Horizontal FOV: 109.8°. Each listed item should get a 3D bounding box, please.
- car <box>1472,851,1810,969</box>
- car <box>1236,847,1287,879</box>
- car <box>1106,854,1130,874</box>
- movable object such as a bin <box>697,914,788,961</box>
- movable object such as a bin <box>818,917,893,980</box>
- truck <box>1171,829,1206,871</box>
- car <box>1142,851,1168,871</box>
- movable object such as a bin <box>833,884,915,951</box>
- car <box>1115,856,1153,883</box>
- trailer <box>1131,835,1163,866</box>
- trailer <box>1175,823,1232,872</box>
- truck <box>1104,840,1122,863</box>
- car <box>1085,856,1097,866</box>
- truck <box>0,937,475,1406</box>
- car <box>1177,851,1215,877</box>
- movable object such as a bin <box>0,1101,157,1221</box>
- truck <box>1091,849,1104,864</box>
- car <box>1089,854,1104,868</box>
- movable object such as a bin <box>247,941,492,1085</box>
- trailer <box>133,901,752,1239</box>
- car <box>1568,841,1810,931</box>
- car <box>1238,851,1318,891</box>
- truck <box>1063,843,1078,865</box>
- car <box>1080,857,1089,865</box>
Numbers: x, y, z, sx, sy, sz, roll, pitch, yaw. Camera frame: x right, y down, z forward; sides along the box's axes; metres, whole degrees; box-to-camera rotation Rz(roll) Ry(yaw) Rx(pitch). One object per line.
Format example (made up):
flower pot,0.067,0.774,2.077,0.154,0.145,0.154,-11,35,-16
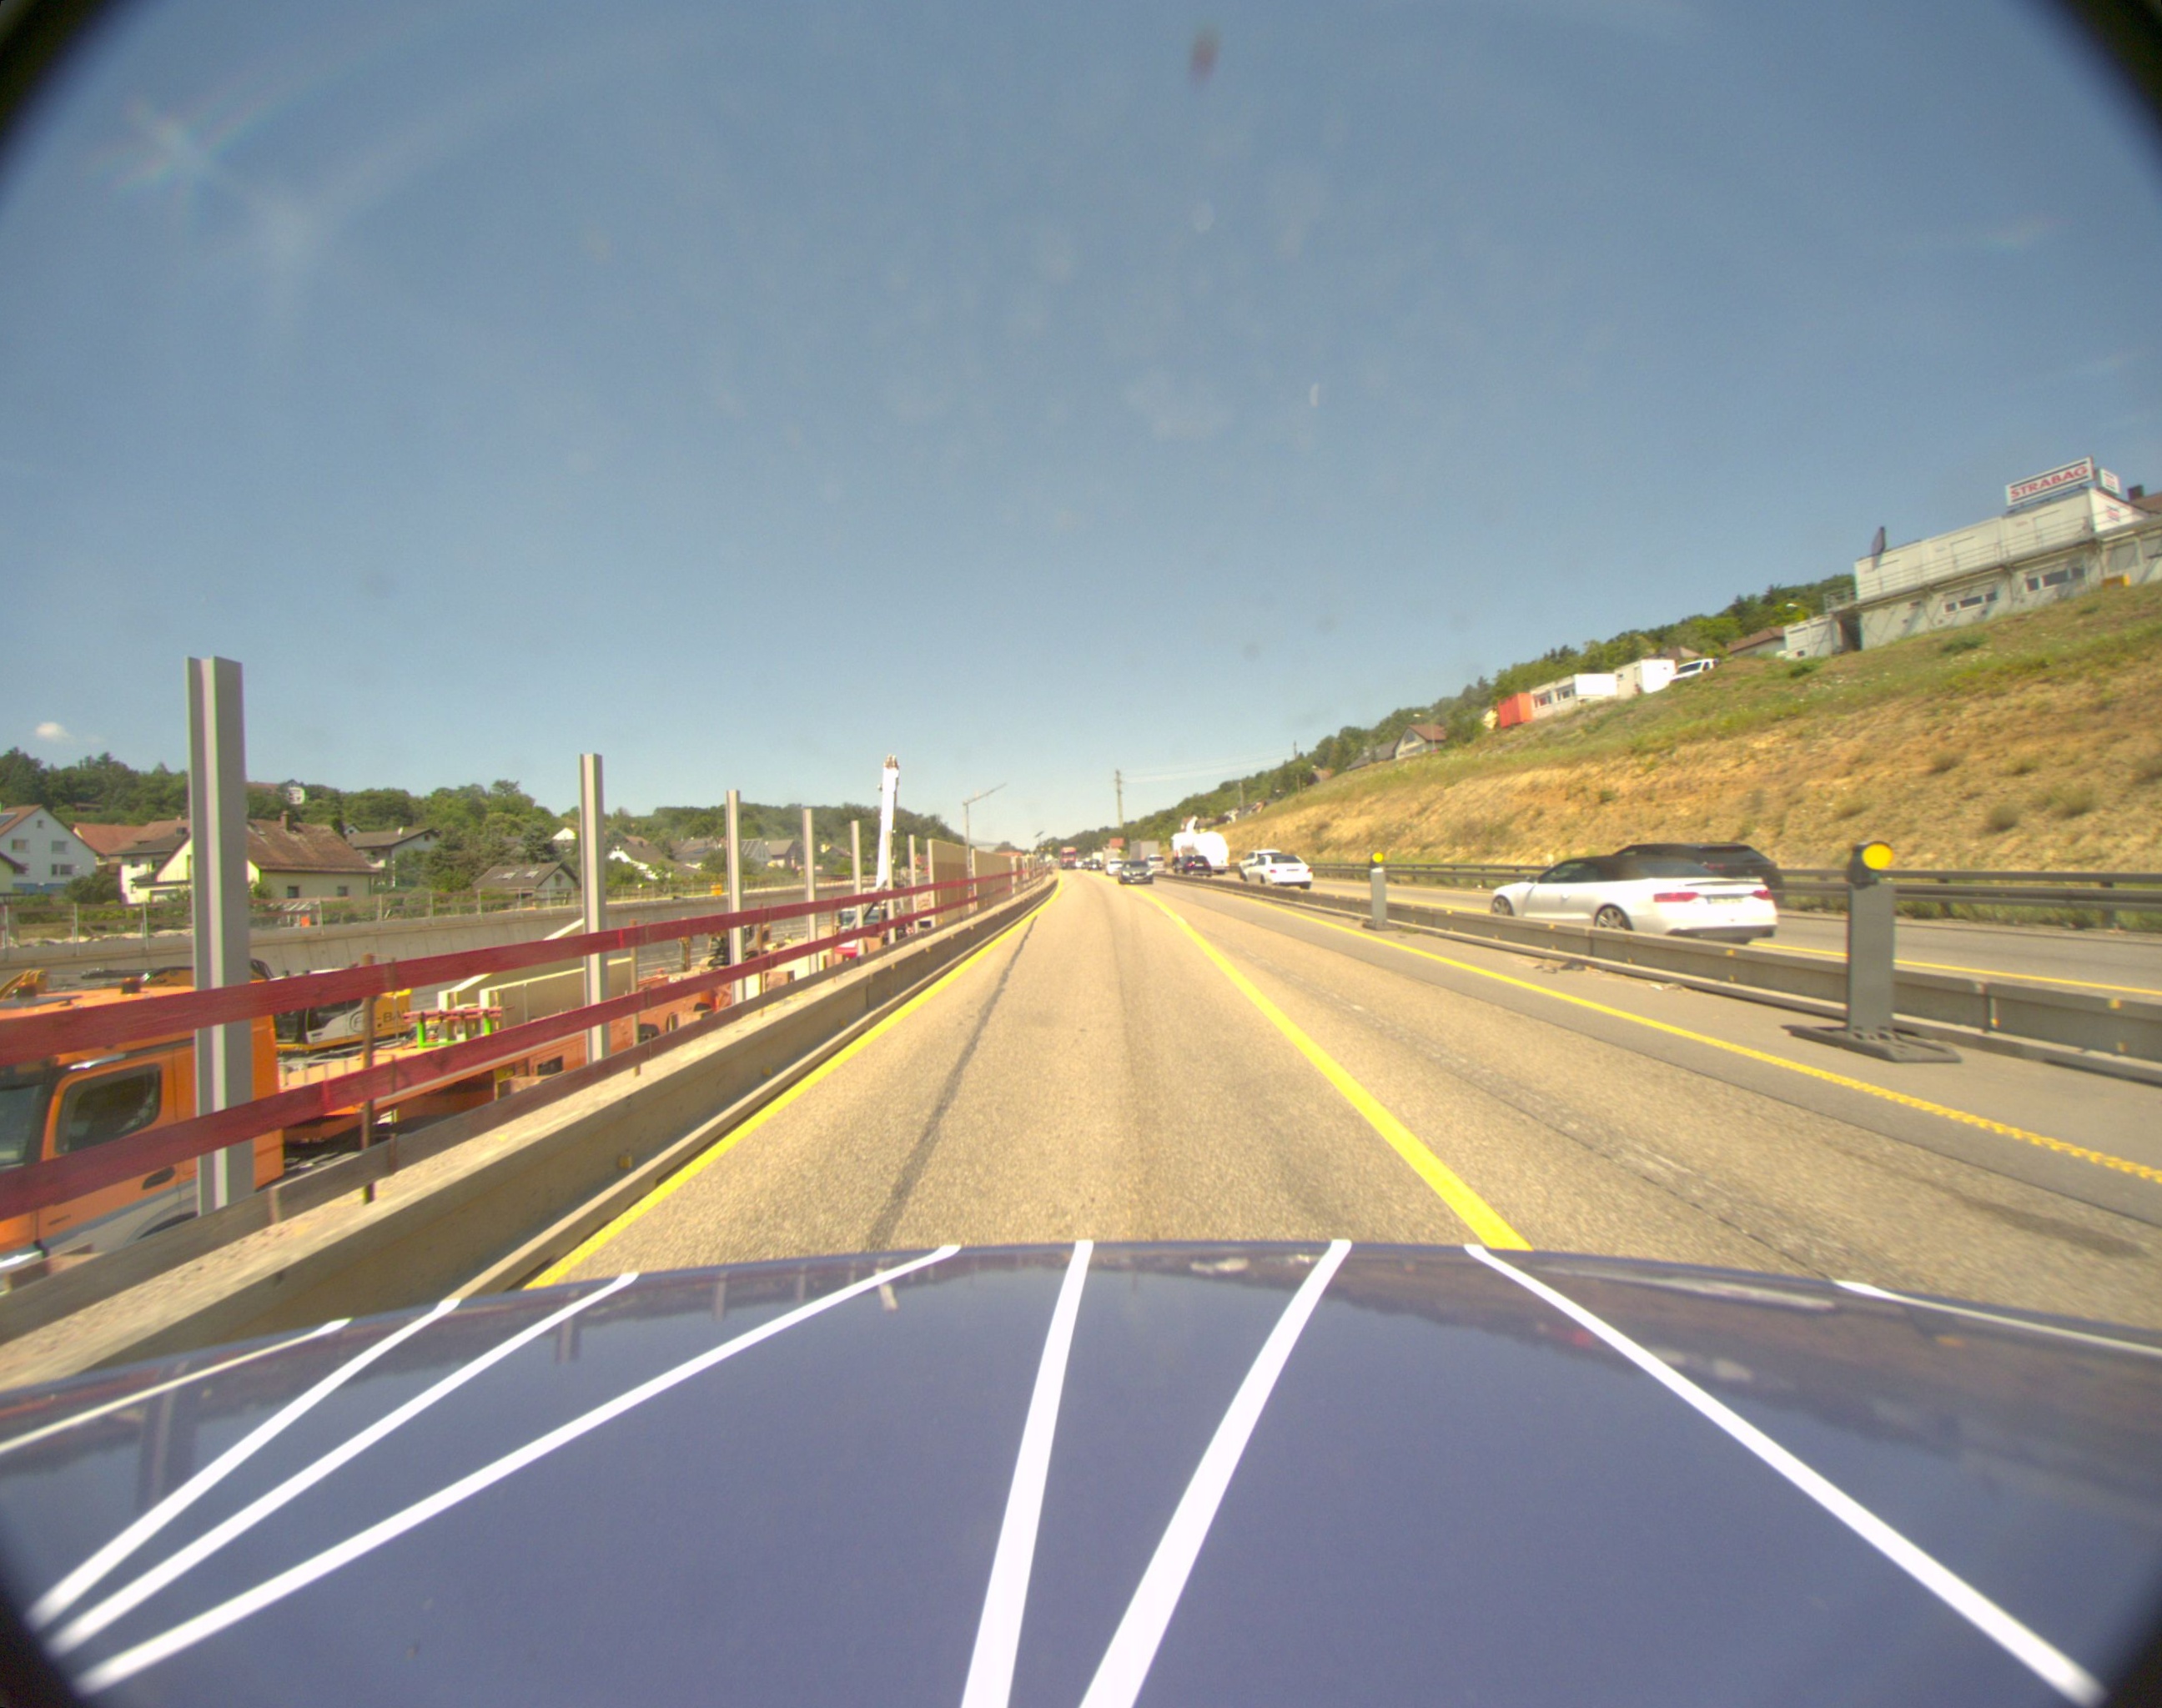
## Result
car,8.431,0.737,12.126,1.805,1.438,4.636,-2,0,-2
car,10.865,0.539,45.953,1.795,1.752,4.536,-1,0,-2
car,3.348,0.947,69.340,1.780,1.682,4.336,-2,-1,-1
movable object such as a bin,-24.988,6.069,56.629,3.171,2.431,7.894,-4,0,-1
movable object such as a bin,-11.157,4.624,38.021,2.174,2.417,4.820,-4,0,0
truck,10.192,-0.375,72.514,2.597,3.779,3.766,-2,0,-2
car,6.859,0.658,70.855,1.884,1.734,4.482,-1,0,-1
movable object such as a bin,-13.355,3.971,49.923,2.974,3.467,9.150,-4,0,-3
car,3.013,0.909,44.126,1.780,1.447,4.336,-2,-1,-1
trailer,9.369,-0.406,109.404,2.705,4.000,13.700,-2,0,-2
trailer,10.380,-0.445,65.867,2.597,3.779,11.916,-2,0,-2
truck,5.458,-0.371,130.544,2.596,3.736,7.357,-2,0,-1
car,1.611,1.182,127.537,1.780,1.485,4.336,-2,-1,-1
truck,-11.704,3.371,9.878,2.765,3.863,5.882,-2,0,0
car,7.789,0.663,51.922,1.795,1.602,4.733,-2,0,-1
movable object such as a bin,-20.884,6.143,14.489,2.383,1.479,3.211,-10,-1,0
truck,3.709,0.603,170.775,2.545,3.354,7.037,-2,0,-1
car,2.120,1.012,105.349,1.780,1.727,4.336,-2,-1,-1
movable object such as a bin,-20.078,4.353,21.866,2.285,3.006,4.821,-4,0,0
trailer,-11.703,3.414,17.087,2.765,3.863,13.049,-2,0,0
car,12.089,0.579,15.504,1.698,1.522,4.000,-2,0,0
car,8.120,0.683,31.790,1.966,1.455,4.940,-2,0,-1
truck,-1.931,0.073,139.339,2.606,3.703,10.536,-2,-1,-1
car,0.721,1.478,157.986,1.780,1.486,4.335,-2,-1,-1
